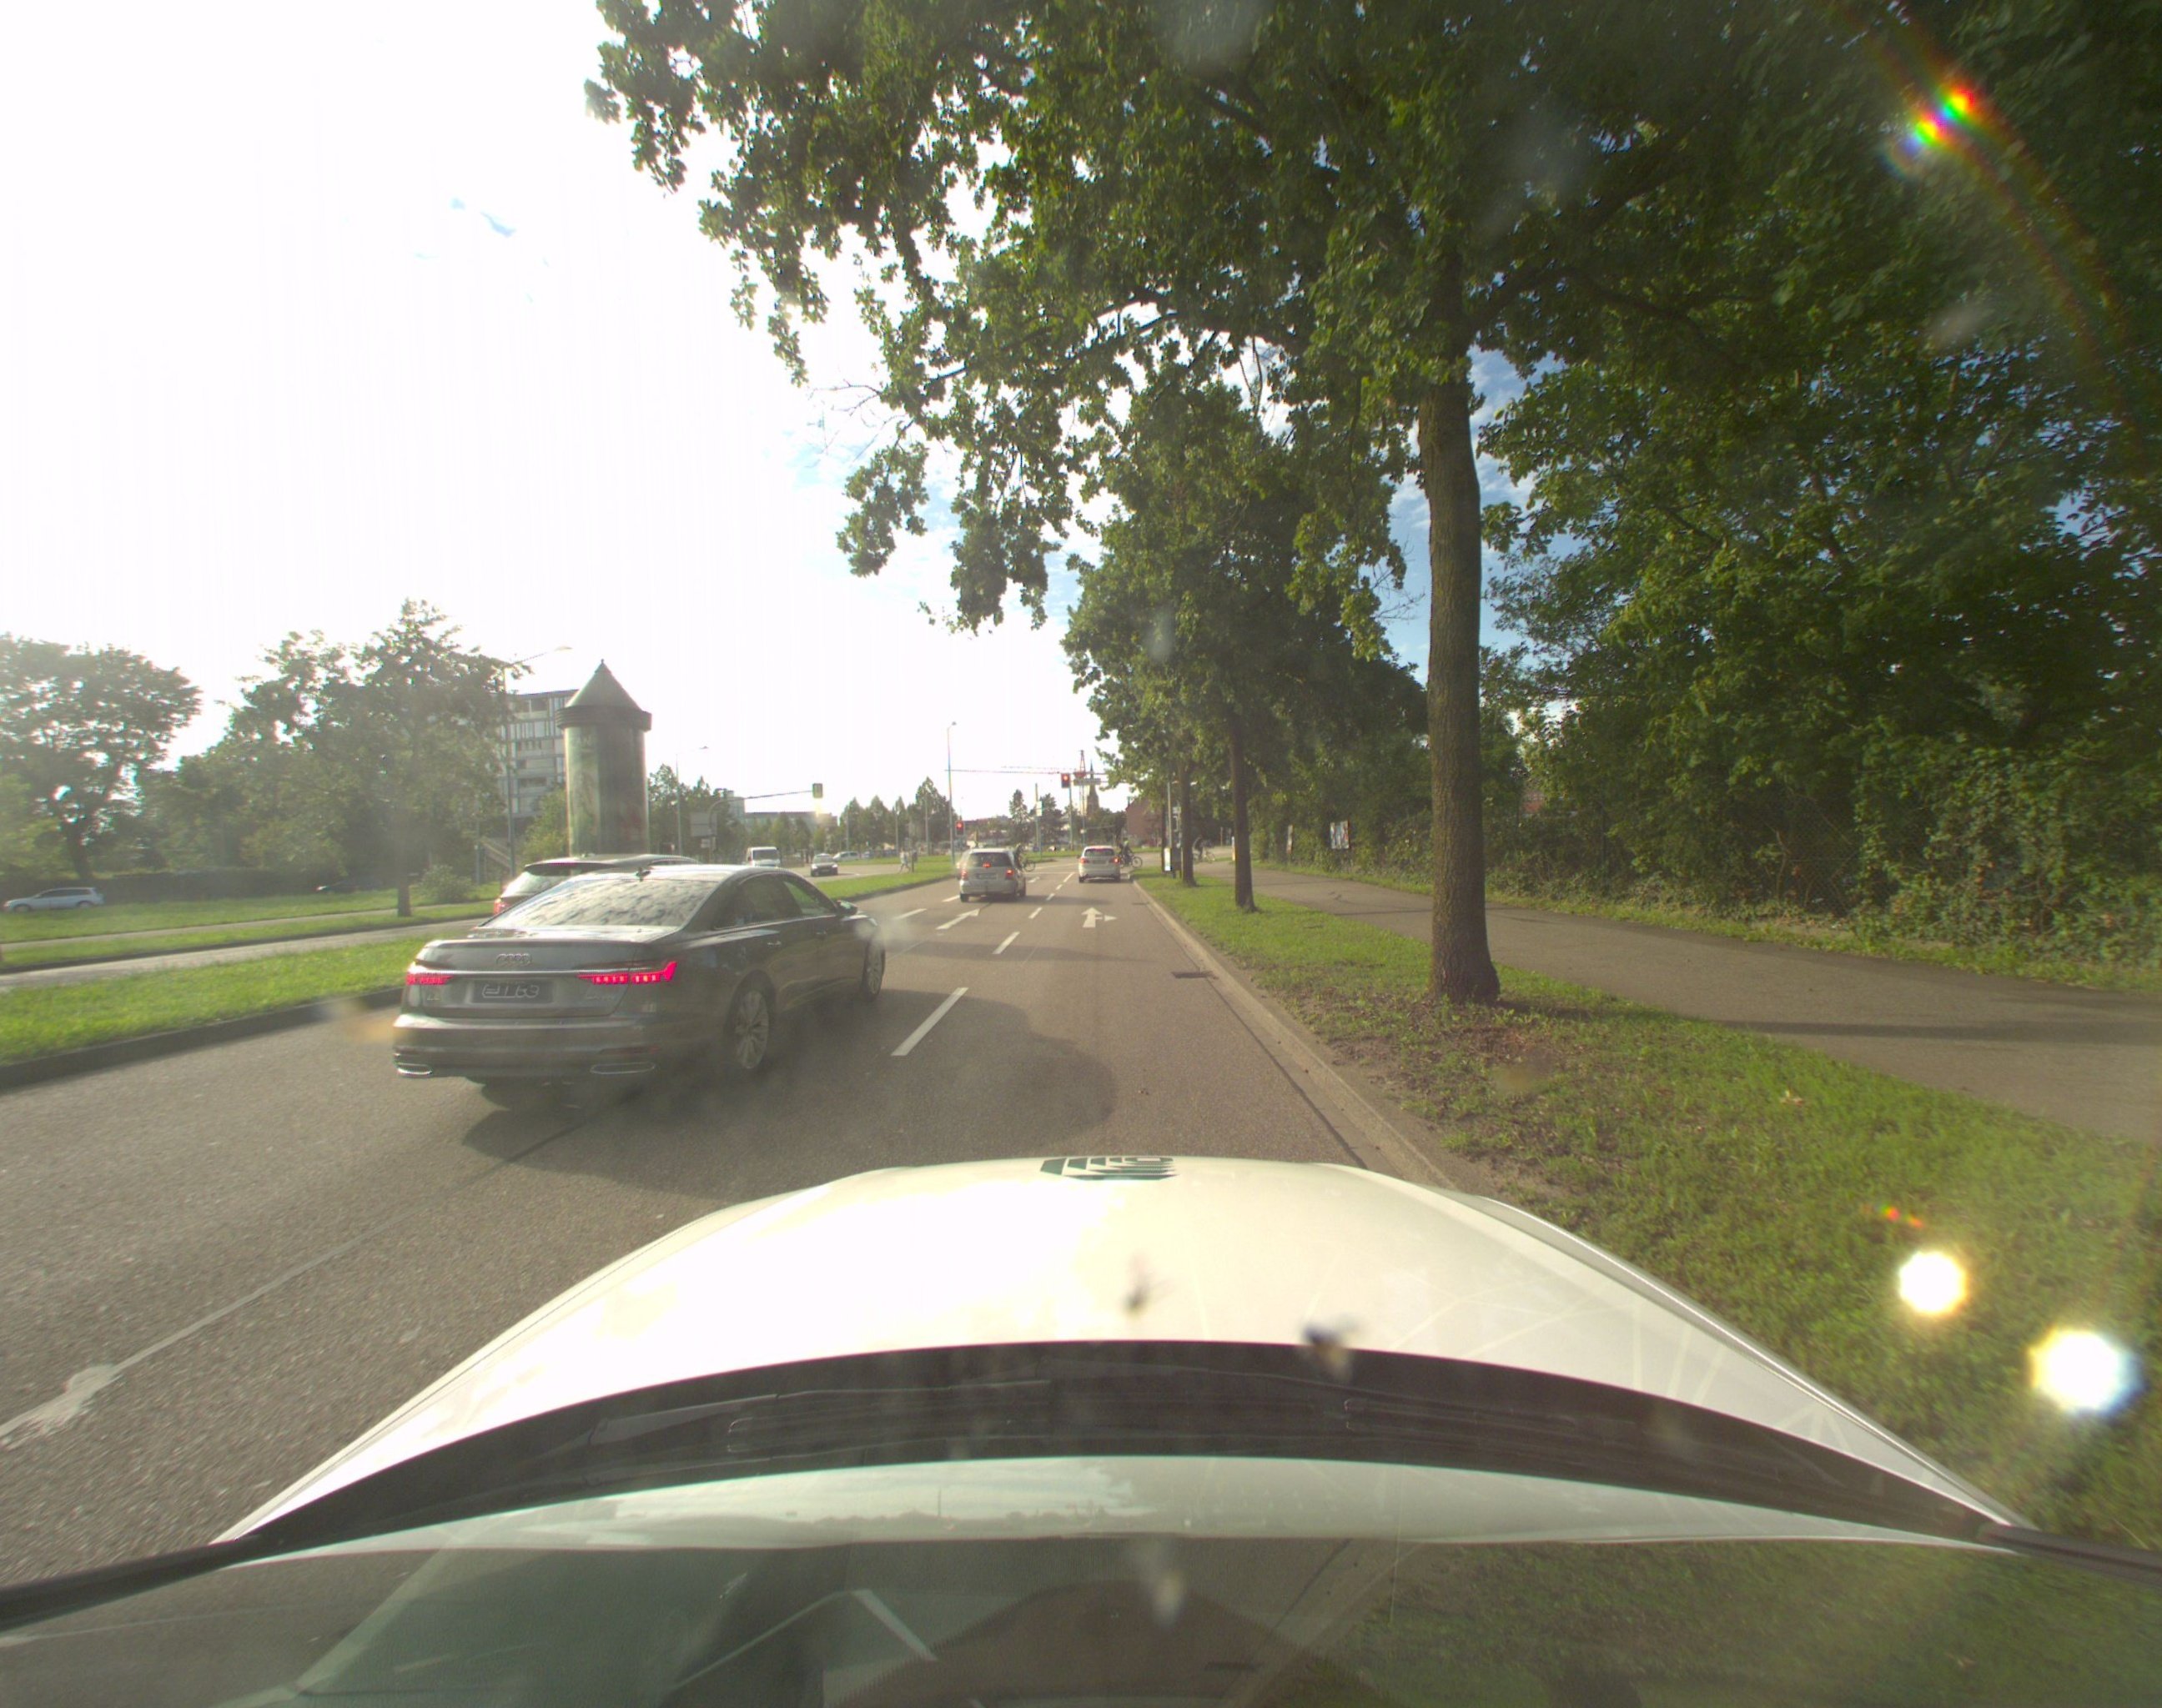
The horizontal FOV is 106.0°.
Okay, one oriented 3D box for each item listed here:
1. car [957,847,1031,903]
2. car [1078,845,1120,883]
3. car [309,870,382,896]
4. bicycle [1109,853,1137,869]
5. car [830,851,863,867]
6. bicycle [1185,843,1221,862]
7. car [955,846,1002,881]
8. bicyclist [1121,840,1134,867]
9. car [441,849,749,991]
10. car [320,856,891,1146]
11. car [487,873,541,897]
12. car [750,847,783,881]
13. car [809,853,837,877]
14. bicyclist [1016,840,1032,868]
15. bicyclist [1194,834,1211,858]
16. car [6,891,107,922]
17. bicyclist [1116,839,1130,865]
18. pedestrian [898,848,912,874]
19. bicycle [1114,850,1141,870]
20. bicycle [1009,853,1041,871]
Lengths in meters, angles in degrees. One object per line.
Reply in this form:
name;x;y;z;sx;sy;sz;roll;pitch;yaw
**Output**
car;-2.608;0.575;25.203;1.723;1.558;4.059;-1;1;1
car;0.793;0.391;36.143;1.723;1.558;4.059;-1;1;1
car;-57.346;2.251;63.559;1.825;1.727;4.025;-3;1;44
bicycle;2.750;0.432;53.407;1.671;0.967;0.643;-3;0;-5
car;-31.918;0.659;111.120;1.804;2.013;4.262;-3;-1;28
bicycle;7.782;-0.070;52.031;2.041;1.120;0.887;-3;0;-14
car;-5.021;0.416;40.190;1.715;1.564;3.879;-1;1;1
bicyclist;2.904;-0.015;50.950;0.765;1.647;0.535;-2;1;0
car;-6.341;0.740;11.257;1.723;1.558;4.020;-1;1;1
car;-3.090;0.793;6.674;1.883;1.483;4.613;-1;0;1
car;-44.103;2.391;63.381;3.217;1.574;1.555;-4;1;-43
car;-23.115;0.714;59.758;2.002;2.235;5.880;-4;1;-22
car;-18.762;0.766;59.108;1.710;1.573;3.974;-4;1;-19
bicyclist;-3.413;0.000;48.953;0.830;1.647;0.683;-2;0;-11
bicyclist;7.754;-0.535;52.036;0.822;1.489;0.759;-2;0;-13
car;-67.069;3.386;53.425;1.974;1.802;4.025;-2;-1;41
bicyclist;2.728;-0.111;53.414;0.786;1.668;0.549;-3;0;-4
pedestrian;-10.919;0.428;50.589;0.653;1.568;0.615;-2;0;-3
bicycle;2.904;0.388;50.966;1.614;1.217;0.491;-2;0;0
bicycle;-3.369;0.484;48.961;1.772;1.050;0.708;-2;0;-12
